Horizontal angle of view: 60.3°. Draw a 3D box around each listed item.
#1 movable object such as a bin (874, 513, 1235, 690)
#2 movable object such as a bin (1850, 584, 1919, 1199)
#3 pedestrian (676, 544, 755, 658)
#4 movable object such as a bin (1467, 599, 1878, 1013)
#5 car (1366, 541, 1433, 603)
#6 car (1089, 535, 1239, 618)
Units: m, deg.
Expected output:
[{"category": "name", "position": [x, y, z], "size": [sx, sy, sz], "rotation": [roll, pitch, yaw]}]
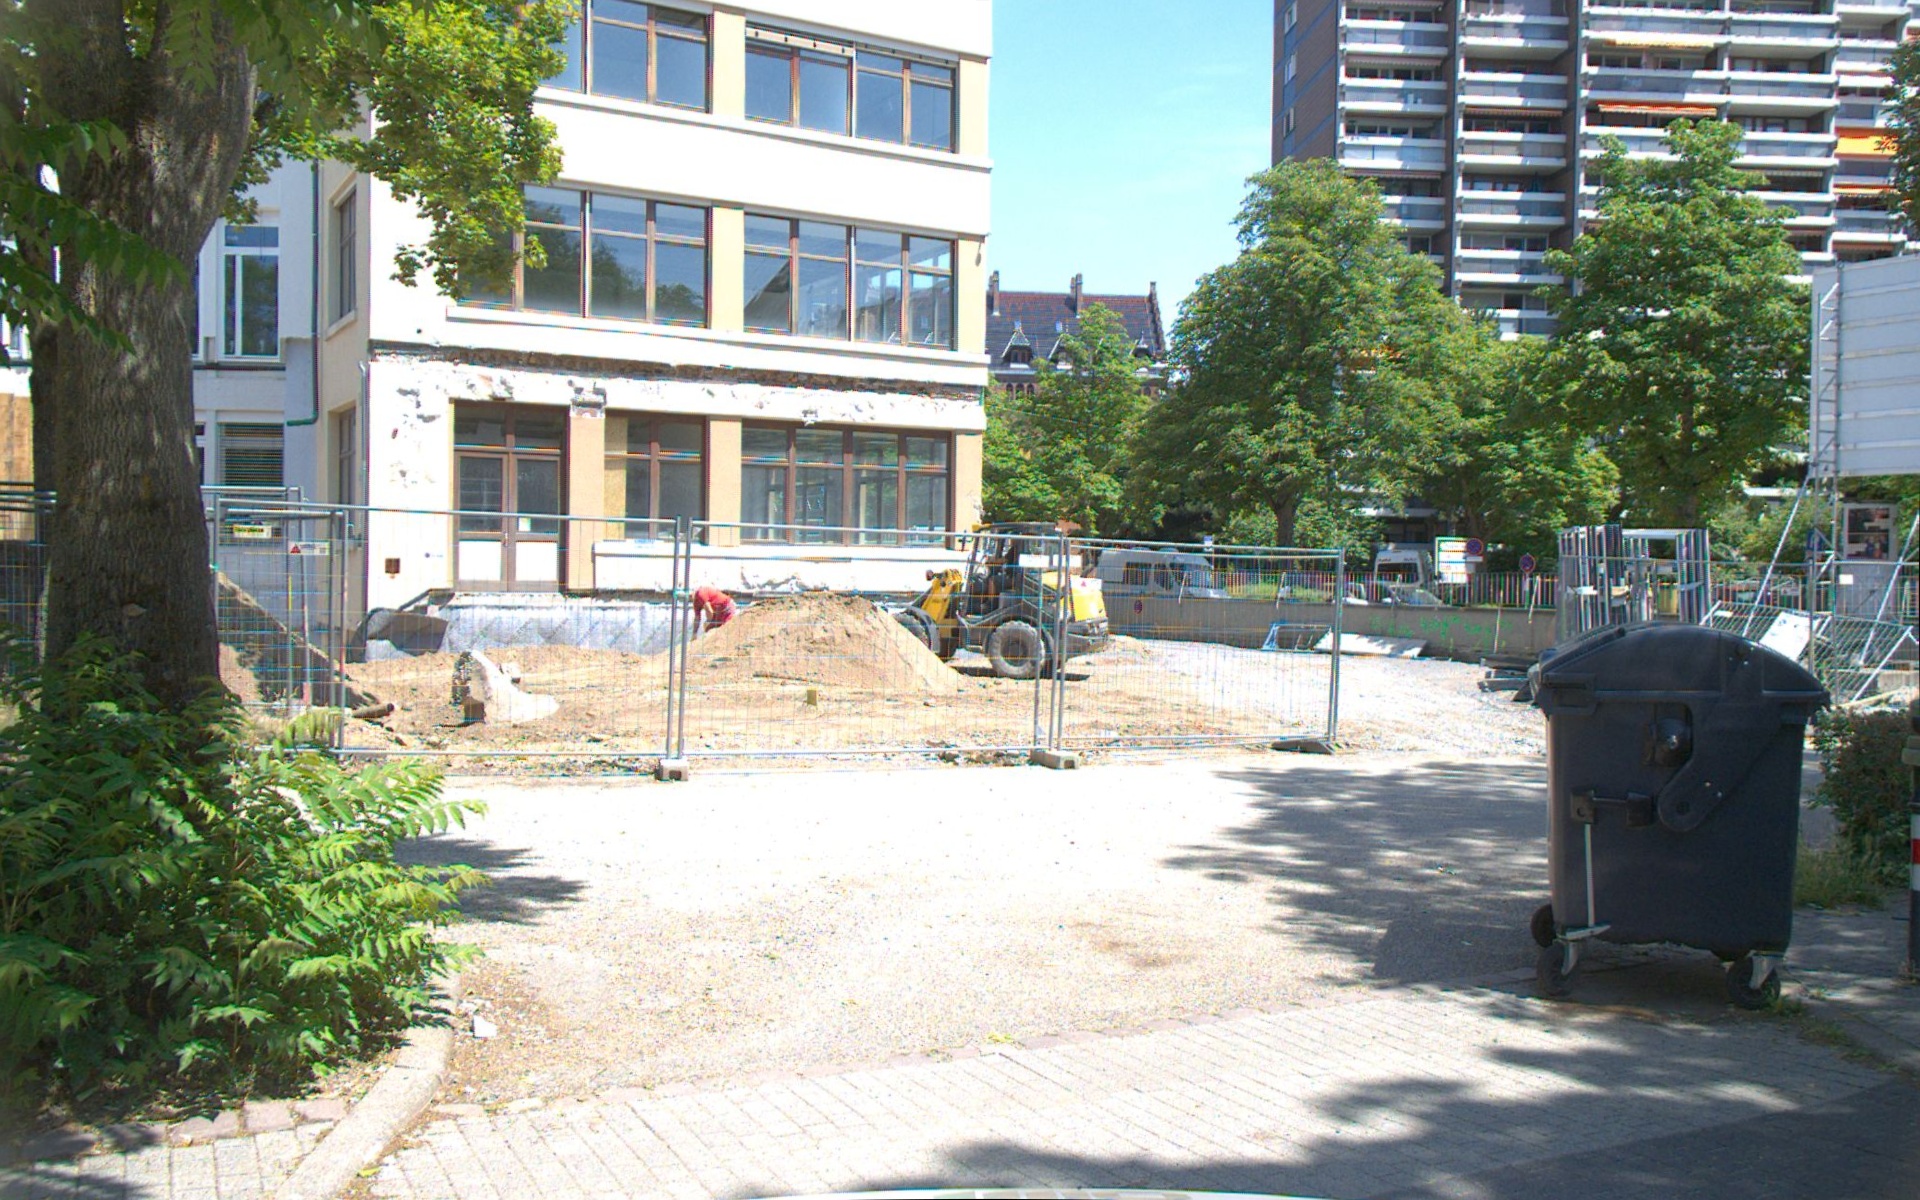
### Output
[{"category": "movable object such as a bin", "position": [1.535, -0.041, 26.793], "size": [5.293, 2.507, 2.368], "rotation": [3, 1, 22]}, {"category": "movable object such as a bin", "position": [2.616, 0.716, 3.181], "size": [1.053, 1.483, 1.377], "rotation": [0, 0, -1]}, {"category": "pedestrian", "position": [-4.111, 0.004, 27.852], "size": [0.898, 1.879, 0.983], "rotation": [1, 0, 34]}, {"category": "movable object such as a bin", "position": [2.800, 0.750, 6.696], "size": [1.053, 1.483, 1.377], "rotation": [0, 0, -1]}, {"category": "car", "position": [17.146, -1.075, 64.413], "size": [2.139, 2.297, 4.870], "rotation": [1, 1, 20]}, {"category": "car", "position": [6.354, -0.741, 52.074], "size": [1.973, 2.458, 5.190], "rotation": [0, 1, -30]}]
